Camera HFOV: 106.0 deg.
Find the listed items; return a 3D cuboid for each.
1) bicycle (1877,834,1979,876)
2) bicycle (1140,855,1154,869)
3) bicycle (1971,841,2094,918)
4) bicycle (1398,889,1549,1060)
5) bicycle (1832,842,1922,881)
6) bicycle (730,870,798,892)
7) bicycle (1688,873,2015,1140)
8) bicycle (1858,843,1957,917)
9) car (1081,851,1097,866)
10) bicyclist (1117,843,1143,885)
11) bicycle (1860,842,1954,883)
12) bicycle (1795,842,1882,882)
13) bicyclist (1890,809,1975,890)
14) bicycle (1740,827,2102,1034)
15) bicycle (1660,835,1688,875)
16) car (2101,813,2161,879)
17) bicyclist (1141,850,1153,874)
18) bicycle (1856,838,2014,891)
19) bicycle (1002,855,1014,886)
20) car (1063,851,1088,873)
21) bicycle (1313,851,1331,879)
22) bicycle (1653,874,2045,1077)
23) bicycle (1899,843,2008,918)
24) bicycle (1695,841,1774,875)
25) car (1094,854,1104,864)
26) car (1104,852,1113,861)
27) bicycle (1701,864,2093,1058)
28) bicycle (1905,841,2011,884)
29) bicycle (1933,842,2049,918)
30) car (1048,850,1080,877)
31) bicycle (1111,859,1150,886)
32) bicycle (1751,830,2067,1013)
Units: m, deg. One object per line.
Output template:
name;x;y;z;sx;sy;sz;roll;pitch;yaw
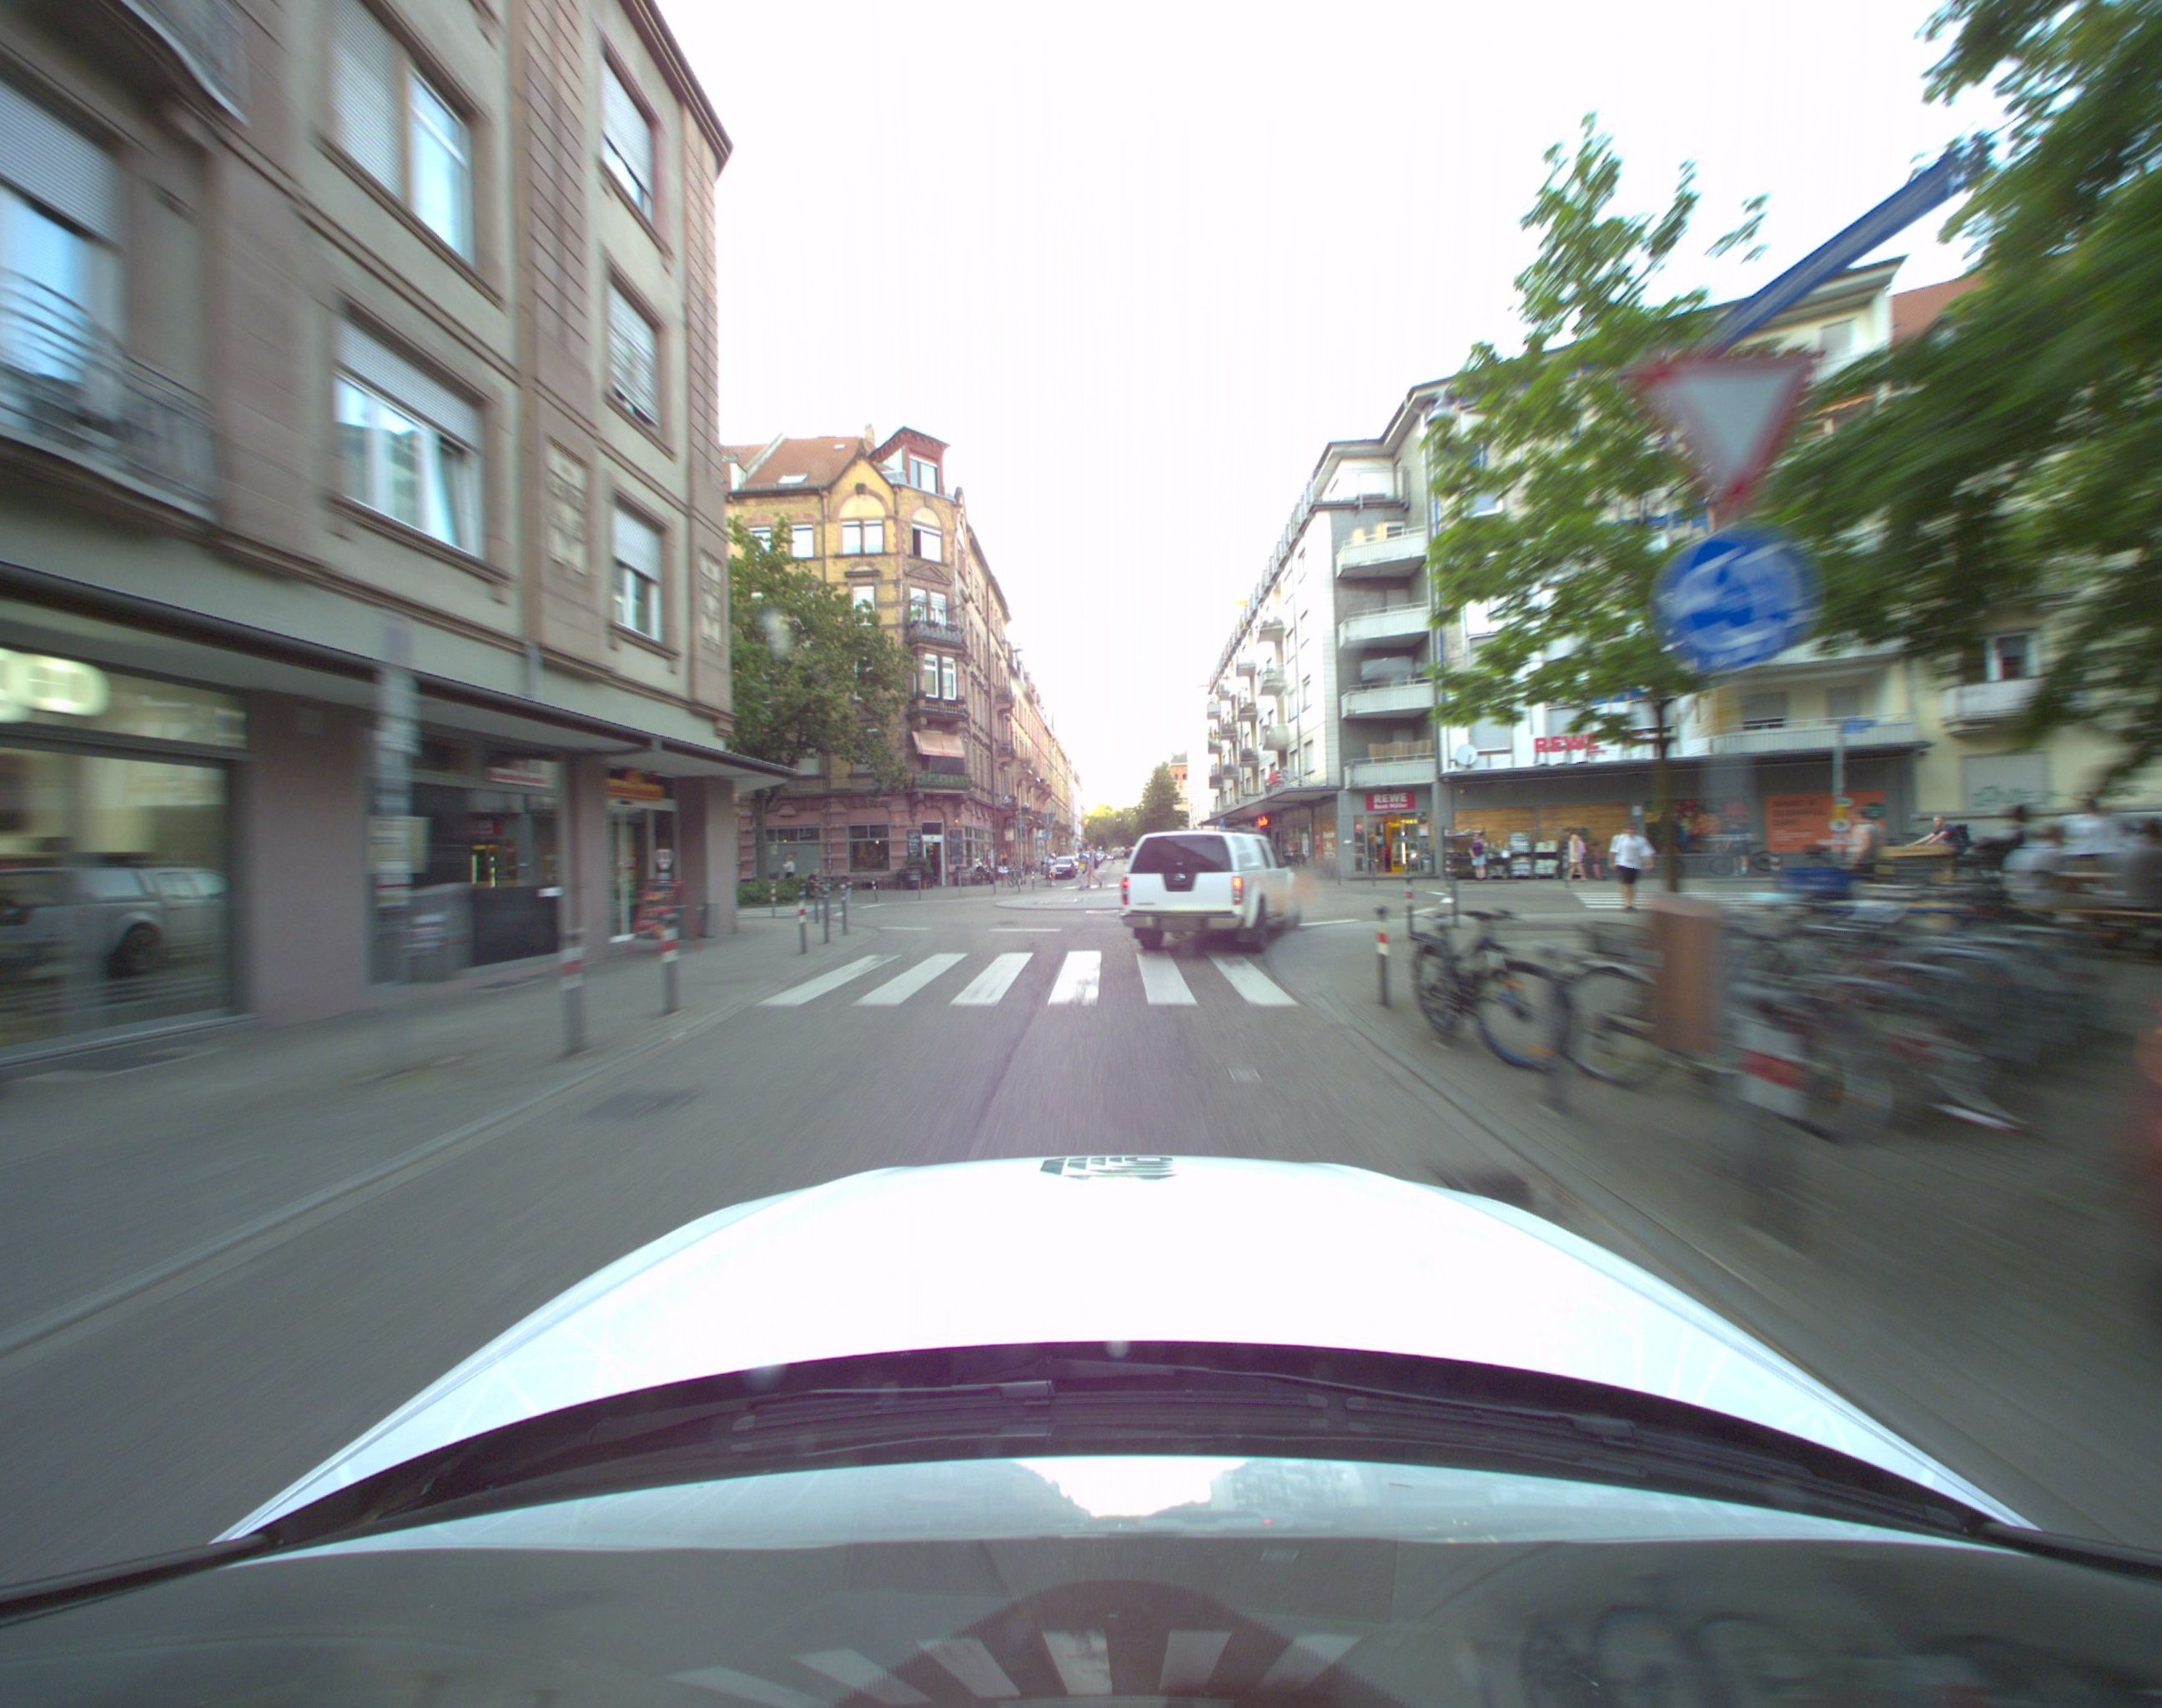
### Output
bicycle;21.193;0.024;20.391;2.002;1.026;0.492;0;-1;1
bicycle;5.424;0.657;66.613;0.832;1.171;1.942;0;-1;13
bicycle;15.069;0.387;12.963;0.430;1.134;2.046;-1;-1;24
bicycle;2.875;0.824;6.118;0.363;1.063;1.551;0;-1;-1
bicycle;21.197;0.193;21.704;2.002;1.026;0.378;0;-1;1
bicycle;-14.501;1.243;37.316;2.885;0.958;0.625;0;-1;1
bicycle;3.907;0.717;4.133;1.548;1.161;0.364;-3;0;-12
bicycle;13.695;0.406;13.556;0.430;1.134;2.046;-1;-1;24
car;1.025;0.596;98.910;1.827;1.750;4.002;0;-1;2
bicyclist;2.208;0.452;36.633;0.830;1.876;0.884;-1;-1;35
bicycle;21.179;0.218;20.904;2.002;1.026;0.378;0;-1;1
bicycle;19.905;0.207;21.426;1.643;1.026;0.380;0;-1;20
bicyclist;18.405;-0.095;17.633;0.987;1.689;0.794;-1;0;15
bicycle;6.053;0.485;6.019;0.599;1.288;1.755;0;-1;-24
bicycle;18.408;0.034;25.282;1.819;1.203;0.344;0;-1;-43
car;26.390;-0.198;17.928;1.993;1.526;4.529;0;-1;-10
bicyclist;5.421;0.672;66.600;0.832;1.944;0.787;0;-1;14
bicycle;18.427;0.234;17.627;2.260;1.073;0.794;-1;0;15
bicycle;-3.517;0.791;39.227;0.422;1.442;1.903;0;-1;-2
car;-0.421;0.635;67.628;1.827;1.750;4.164;0;-1;2
bicycle;9.915;0.448;33.514;0.289;1.112;0.963;0;-1;-10
bicycle;4.836;0.675;5.303;0.599;1.063;1.755;0;-1;-24
bicycle;14.197;0.401;13.316;0.430;1.134;2.046;-1;-1;24
bicycle;20.170;0.138;25.172;1.859;1.026;0.380;-1;-1;26
car;3.276;0.981;146.531;1.827;1.750;4.002;0;-1;2
car;5.571;0.538;164.359;1.827;1.750;4.002;0;-1;2
bicycle;5.415;0.629;5.564;0.600;1.063;1.755;-4;0;-24
bicycle;21.211;0.207;19.706;2.002;1.026;0.492;0;-1;1
bicycle;14.620;0.390;13.147;0.430;1.134;2.046;-1;-1;24
car;-1.082;0.615;53.578;1.827;1.750;4.002;0;-1;2
bicycle;2.248;0.805;36.690;0.830;1.171;1.948;-1;-1;35
bicycle;6.639;0.478;6.632;0.601;1.288;1.705;-1;0;-34
